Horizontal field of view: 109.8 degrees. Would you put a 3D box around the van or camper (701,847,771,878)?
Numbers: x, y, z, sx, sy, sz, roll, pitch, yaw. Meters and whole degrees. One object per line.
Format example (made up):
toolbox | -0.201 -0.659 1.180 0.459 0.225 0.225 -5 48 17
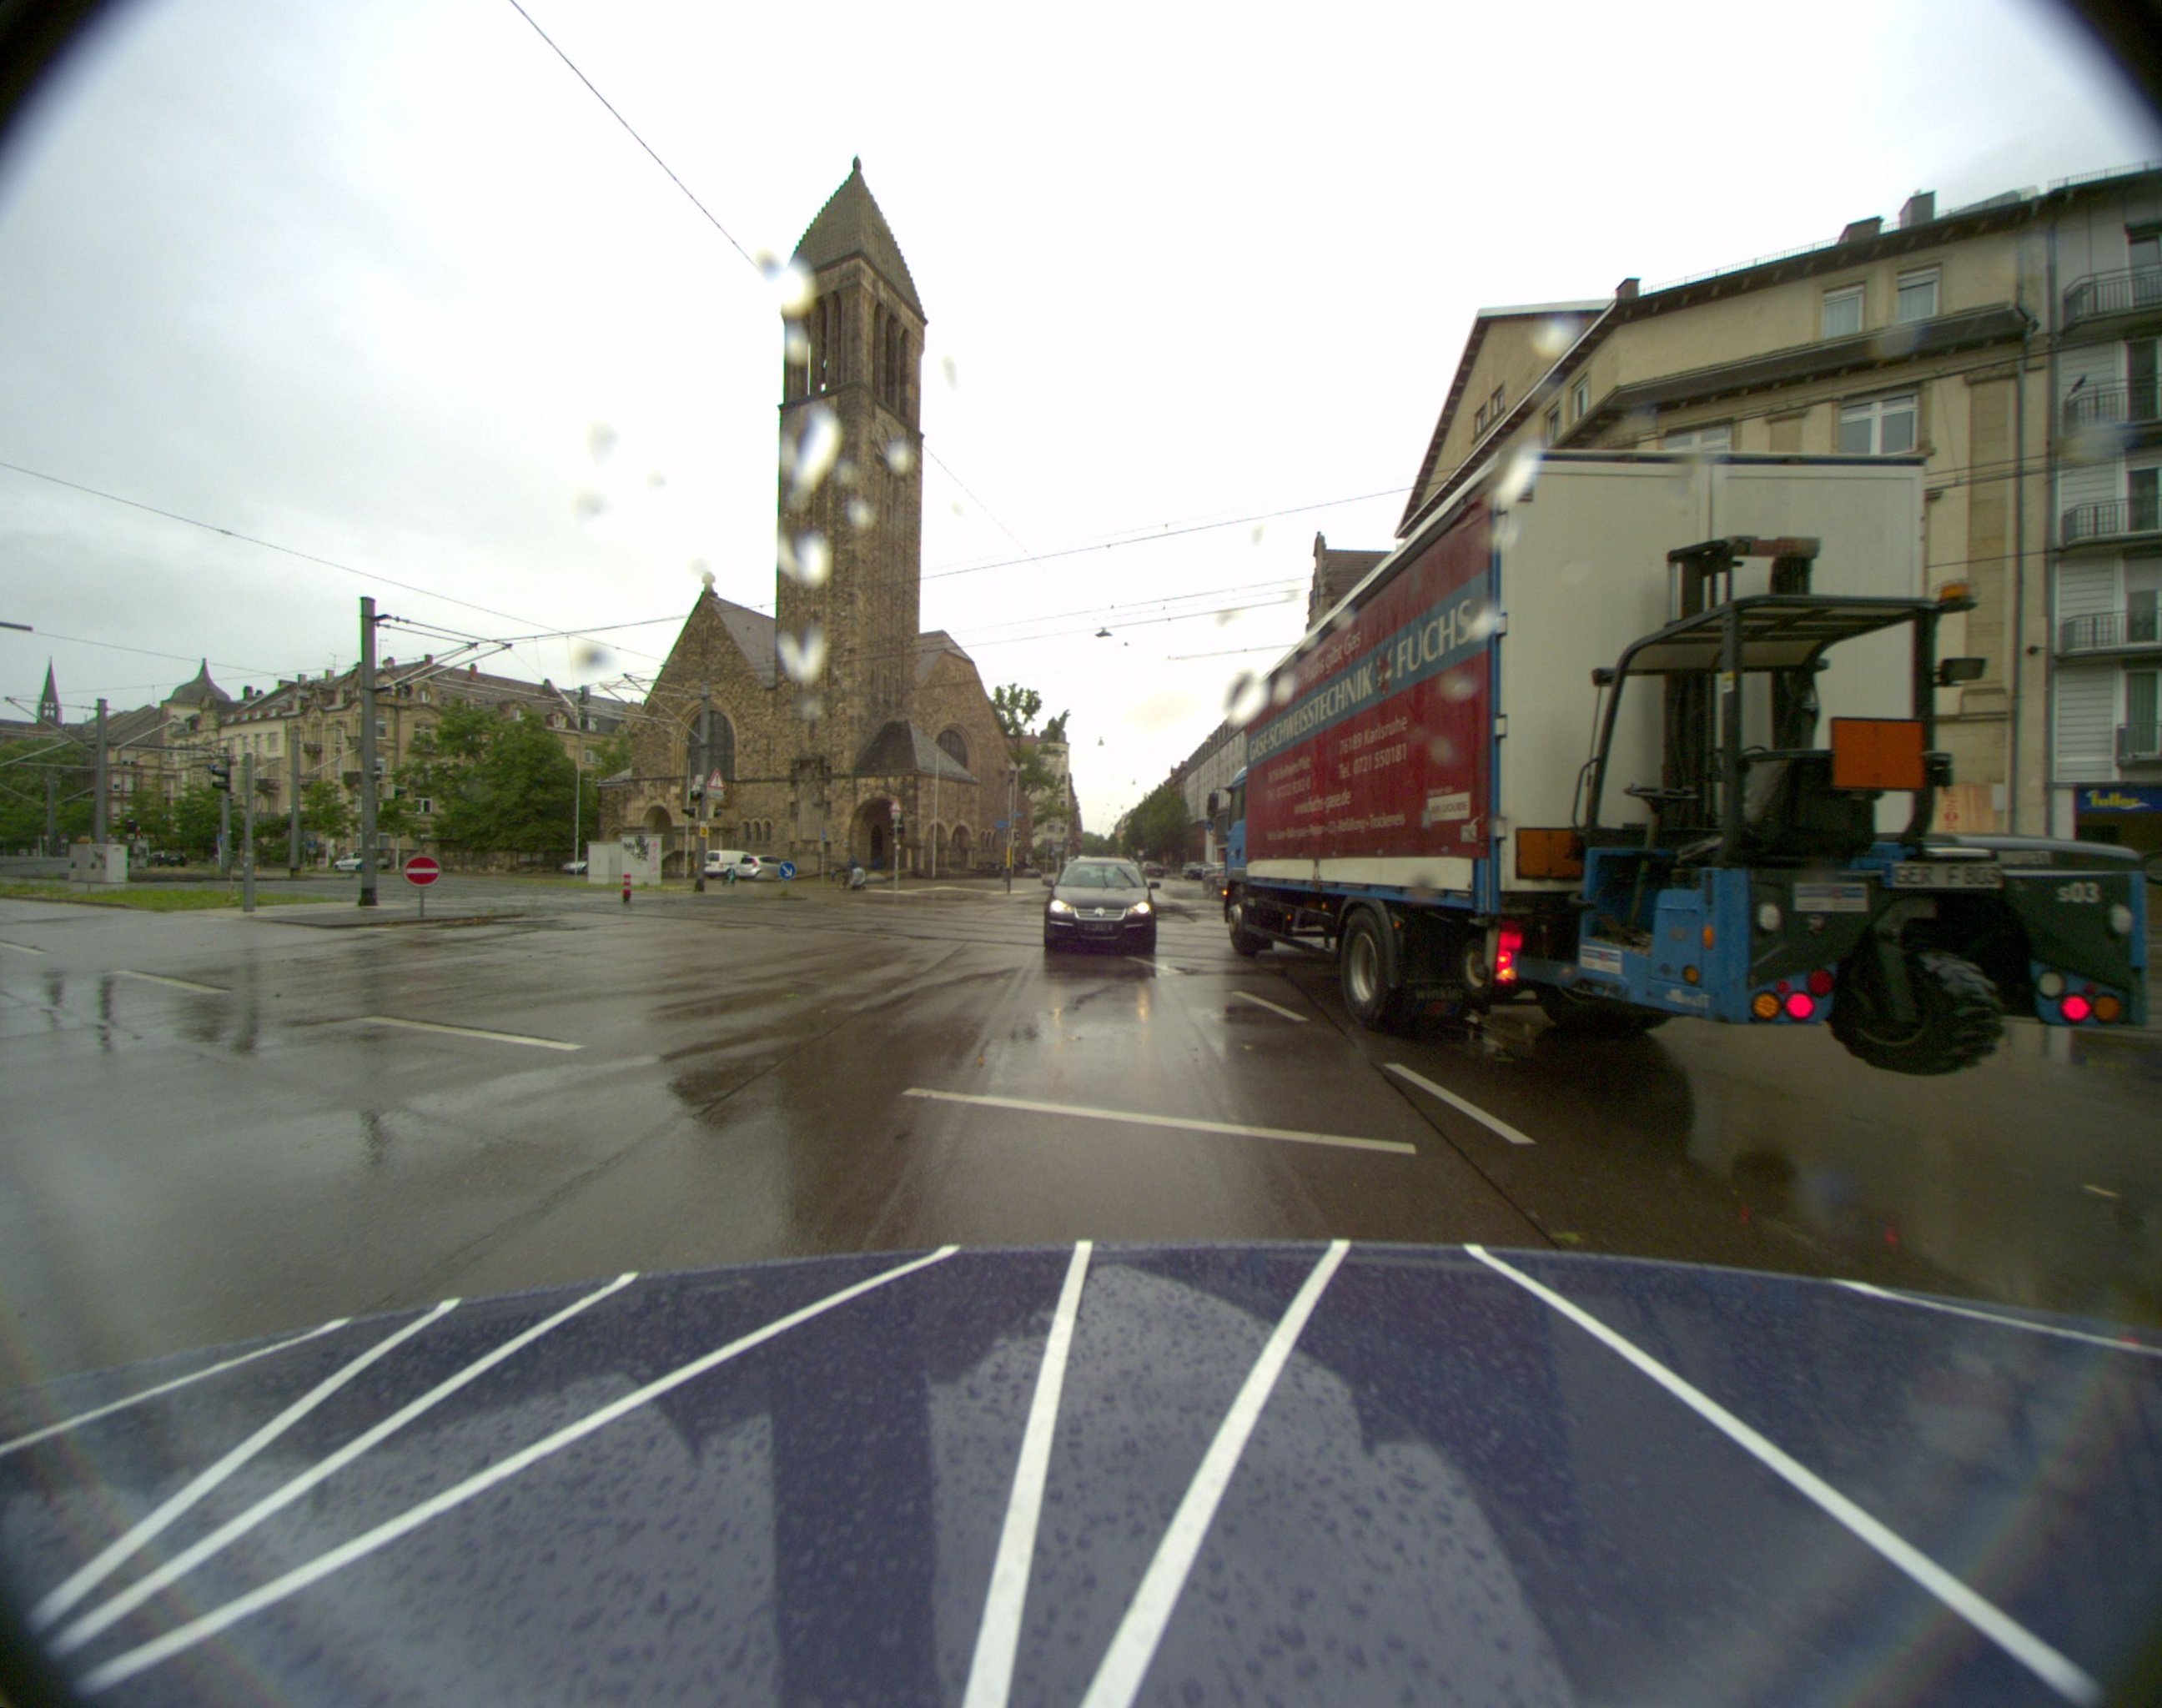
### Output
van or camper | -22.327 0.532 49.348 1.644 1.719 3.935 1 4 25

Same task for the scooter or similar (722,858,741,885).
scooter or similar | -18.884 0.940 41.048 1.101 1.379 0.287 1 0 24

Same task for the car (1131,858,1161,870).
car | 9.320 1.412 108.739 3.803 1.705 1.998 2 0 -9

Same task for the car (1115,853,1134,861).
car | 9.784 0.730 169.780 3.809 1.705 1.995 2 0 -32

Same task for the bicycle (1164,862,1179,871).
bicycle | 11.015 1.475 92.744 1.687 1.067 0.545 -2 1 -2

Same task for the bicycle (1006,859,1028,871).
bicycle | -5.896 1.012 70.084 1.977 1.060 0.607 2 0 24

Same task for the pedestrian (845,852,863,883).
pedestrian | -12.761 0.765 42.748 0.632 1.693 0.679 1 0 21

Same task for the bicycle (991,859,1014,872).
bicycle | -6.972 1.024 67.635 1.923 1.054 0.582 2 0 23

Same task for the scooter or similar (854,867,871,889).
scooter or similar | -10.632 1.163 37.022 0.514 1.042 0.924 1 0 4

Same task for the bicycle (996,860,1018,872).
bicycle | -6.666 1.056 68.374 1.923 1.054 0.582 2 0 23

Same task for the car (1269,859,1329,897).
car | 11.863 1.281 41.161 1.799 1.499 4.006 -8 0 34

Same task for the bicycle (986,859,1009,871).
bicycle | -7.363 0.972 67.007 1.923 1.054 0.582 2 0 20

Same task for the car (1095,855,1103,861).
car | 5.558 1.237 236.655 1.998 1.705 4.376 2 0 5

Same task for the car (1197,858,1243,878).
car | 11.951 1.230 65.325 3.734 1.617 1.774 -1 0 -37

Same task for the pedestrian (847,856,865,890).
pedestrian | -11.025 0.924 37.208 0.604 1.653 0.689 1 0 4

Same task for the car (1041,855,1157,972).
car | 0.293 0.818 12.432 1.547 1.553 4.071 2 0 1

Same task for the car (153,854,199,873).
car | -85.848 0.890 72.083 3.989 1.766 1.785 1 0 25

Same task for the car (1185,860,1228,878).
car | 11.701 1.414 70.734 3.735 1.518 1.713 2 0 -34

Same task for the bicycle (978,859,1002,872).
bicycle | -7.894 1.013 66.144 2.005 1.043 0.577 2 0 18

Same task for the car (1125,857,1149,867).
car | 9.839 1.390 133.577 3.803 1.705 1.905 2 0 -9

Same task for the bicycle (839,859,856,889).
bicycle | -11.507 0.959 37.481 0.533 1.458 1.939 1 0 -8

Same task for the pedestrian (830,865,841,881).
pedestrian | -14.356 1.110 44.412 0.455 0.879 0.397 1 0 21

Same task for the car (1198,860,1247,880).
car | 11.595 1.295 62.001 3.734 1.535 1.774 -1 0 -34

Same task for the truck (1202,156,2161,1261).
truck | 3.687 -0.490 7.966 2.853 4.002 10.314 1 0 -1

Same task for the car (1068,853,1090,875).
car | -0.141 0.894 70.949 1.909 1.911 5.273 2 0 1

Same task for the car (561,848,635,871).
car | -34.534 0.389 54.398 1.995 1.608 4.007 1 0 25

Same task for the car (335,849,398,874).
car | -53.643 0.550 57.046 3.990 1.783 1.984 1 0 22

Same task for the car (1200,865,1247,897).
car | 7.641 1.403 41.063 1.730 1.537 4.340 1 0 1

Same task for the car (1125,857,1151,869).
car | 9.149 1.431 121.639 3.803 1.705 1.998 2 0 -9

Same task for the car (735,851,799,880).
car | -19.591 0.694 47.521 1.732 1.565 3.363 1 3 28

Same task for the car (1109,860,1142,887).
car | 2.606 1.127 45.383 1.766 1.430 3.748 2 0 1

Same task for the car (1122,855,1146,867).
car | 9.830 1.311 142.013 4.006 2.002 1.995 1 0 -27

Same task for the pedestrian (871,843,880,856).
pedestrian | -14.247 -0.305 52.692 0.395 0.879 0.457 1 0 24

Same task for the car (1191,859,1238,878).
car | 11.982 1.260 68.094 3.733 1.519 1.897 -2 2 -30

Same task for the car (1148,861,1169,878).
car | 7.842 1.529 76.762 1.748 1.537 3.779 1 0 1

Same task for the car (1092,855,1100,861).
car | 4.530 1.132 222.202 1.998 1.705 4.376 2 0 5

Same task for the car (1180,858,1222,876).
car | 11.670 1.273 73.816 3.932 1.719 1.811 1 0 -40

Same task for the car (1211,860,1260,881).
car | 12.013 1.275 59.022 3.766 1.535 1.624 -1 0 -39

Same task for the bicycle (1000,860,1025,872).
bicycle | -6.248 1.087 69.195 2.150 1.054 0.679 2 0 23

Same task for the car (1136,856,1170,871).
car | 9.591 1.281 100.942 4.006 1.804 1.995 2 0 -25

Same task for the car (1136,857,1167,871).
car | 9.792 1.392 105.656 3.803 1.705 1.998 2 0 -9

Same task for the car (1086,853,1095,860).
car | 2.463 0.668 200.785 1.998 1.705 3.804 2 0 5
